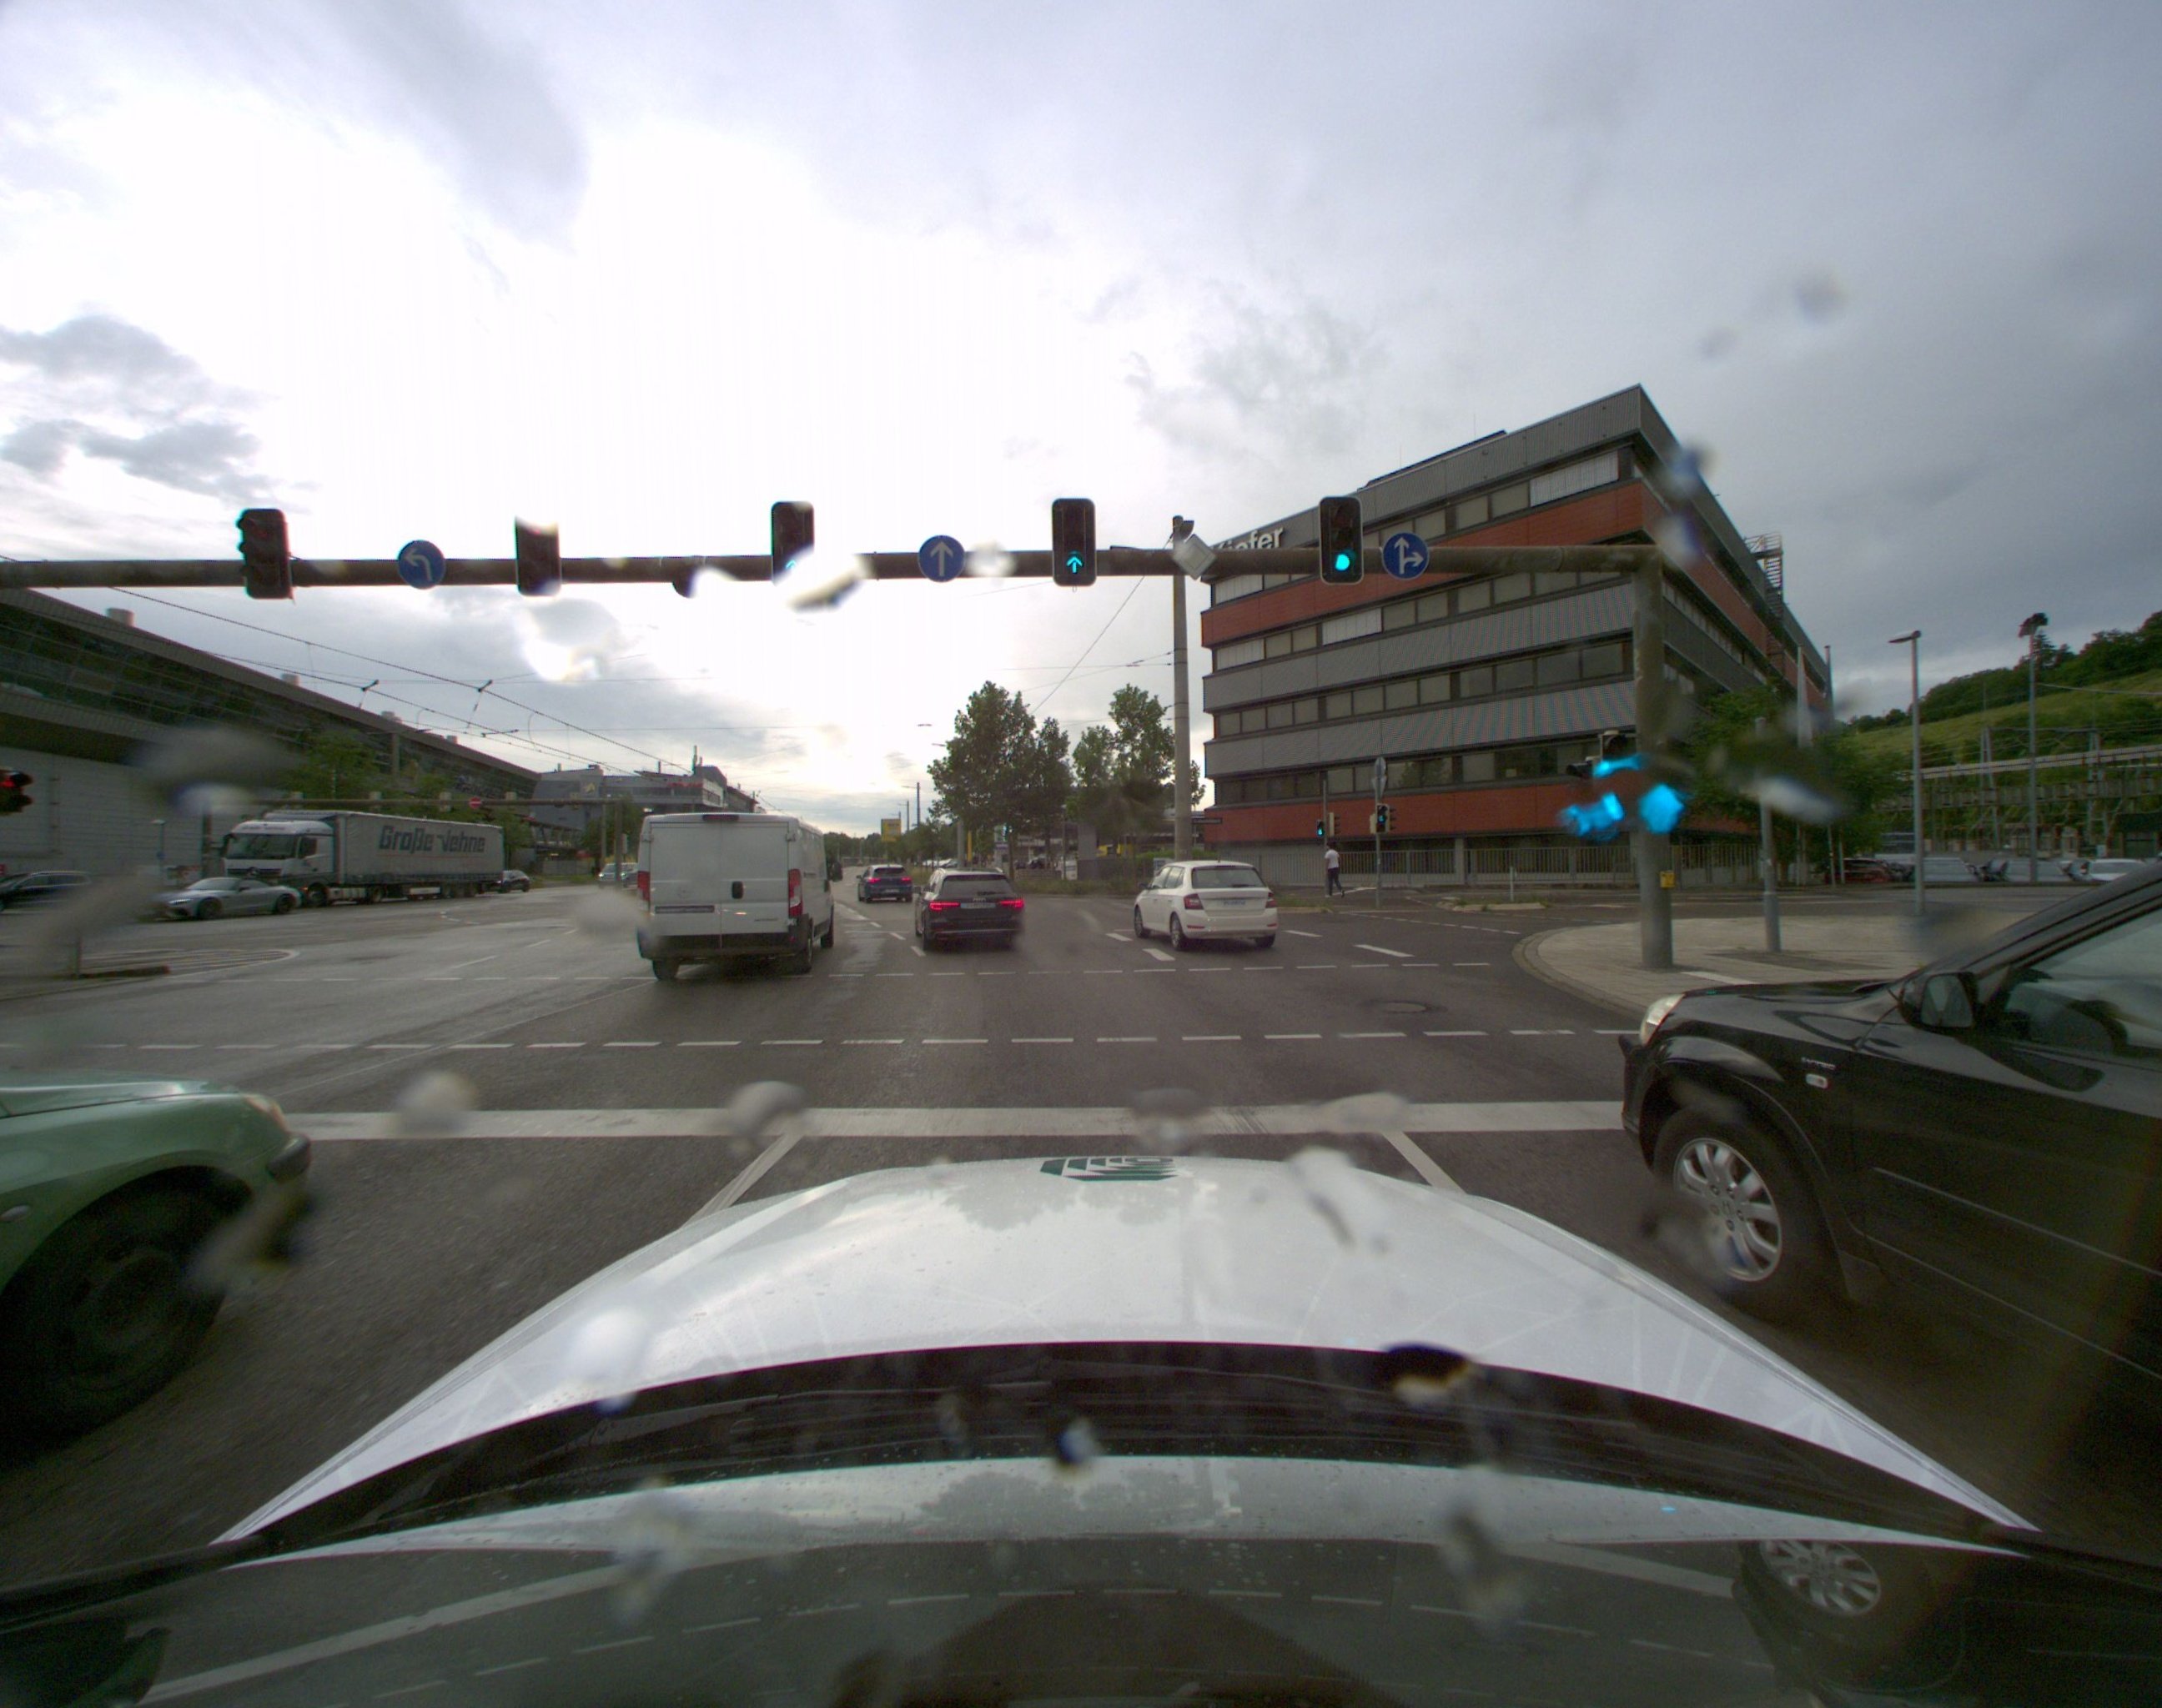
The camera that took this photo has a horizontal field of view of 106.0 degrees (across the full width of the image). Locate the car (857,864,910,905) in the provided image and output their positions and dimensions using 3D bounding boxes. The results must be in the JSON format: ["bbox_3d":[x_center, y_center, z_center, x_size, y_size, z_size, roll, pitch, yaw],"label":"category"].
[{"bbox_3d":[-7.746,1.163,31.940,1.897,1.465,3.889,0,-1,-14],"label":"car"}]

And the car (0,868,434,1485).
[{"bbox_3d":[-3.417,0.761,1.070,1.690,1.468,4.398,1,-1,-3],"label":"car"}]

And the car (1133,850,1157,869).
[{"bbox_3d":[7.113,0.600,90.609,1.678,2.014,3.121,2,-1,-15],"label":"car"}]

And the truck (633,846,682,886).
[{"bbox_3d":[-41.891,1.202,80.683,2.747,3.805,5.390,-2,-1,-11],"label":"truck"}]

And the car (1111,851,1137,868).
[{"bbox_3d":[5.198,0.659,99.115,1.875,2.014,3.750,2,-2,-18],"label":"car"}]

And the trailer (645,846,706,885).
[{"bbox_3d":[-42.985,1.288,86.754,2.725,3.855,11.188,-2,-1,-10],"label":"trailer"}]

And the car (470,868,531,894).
[{"bbox_3d":[-38.121,1.768,53.436,4.584,1.609,2.013,-2,-1,37],"label":"car"}]

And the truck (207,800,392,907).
[{"bbox_3d":[-32.864,0.029,34.634,2.667,4.130,6.162,-1,-1,-11],"label":"truck"}]

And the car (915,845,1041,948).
[{"bbox_3d":[-2.067,0.704,15.343,1.995,1.637,3.983,-1,-1,-12],"label":"car"}]

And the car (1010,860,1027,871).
[{"bbox_3d":[-9.116,1.690,118.649,1.795,1.591,3.979,-1,-1,-15],"label":"car"}]

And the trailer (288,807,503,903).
[{"bbox_3d":[-34.247,0.154,41.684,2.651,4.125,12.692,-1,-1,-12],"label":"trailer"}]

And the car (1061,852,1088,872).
[{"bbox_3d":[-0.728,0.841,87.099,1.996,2.032,3.981,-1,-1,-14],"label":"car"}]

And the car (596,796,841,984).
[{"bbox_3d":[-5.233,0.464,12.641,2.447,2.294,4.884,-1,-1,-12],"label":"car"}]

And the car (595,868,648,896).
[{"bbox_3d":[-34.783,2.099,61.786,1.994,1.837,4.891,2,0,-11],"label":"car"}]

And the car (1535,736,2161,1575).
[{"bbox_3d":[2.992,0.602,1.557,1.761,1.630,4.322,1,-1,-2],"label":"car"}]

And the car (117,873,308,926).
[{"bbox_3d":[-28.696,1.446,27.168,1.903,1.555,4.550,2,-1,-10],"label":"car"}]

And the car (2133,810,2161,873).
[{"bbox_3d":[35.789,-0.398,24.461,5.032,1.916,2.006,0,-2,11],"label":"car"}]

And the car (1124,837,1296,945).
[{"bbox_3d":[2.126,0.626,14.630,1.829,1.656,3.984,0,-2,-11],"label":"car"}]

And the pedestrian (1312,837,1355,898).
[{"bbox_3d":[9.025,0.474,29.199,1.139,2.125,1.223,-2,1,2],"label":"pedestrian"}]

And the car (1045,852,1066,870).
[{"bbox_3d":[-3.008,0.843,95.971,1.681,2.014,3.525,2,-2,-13],"label":"car"}]
